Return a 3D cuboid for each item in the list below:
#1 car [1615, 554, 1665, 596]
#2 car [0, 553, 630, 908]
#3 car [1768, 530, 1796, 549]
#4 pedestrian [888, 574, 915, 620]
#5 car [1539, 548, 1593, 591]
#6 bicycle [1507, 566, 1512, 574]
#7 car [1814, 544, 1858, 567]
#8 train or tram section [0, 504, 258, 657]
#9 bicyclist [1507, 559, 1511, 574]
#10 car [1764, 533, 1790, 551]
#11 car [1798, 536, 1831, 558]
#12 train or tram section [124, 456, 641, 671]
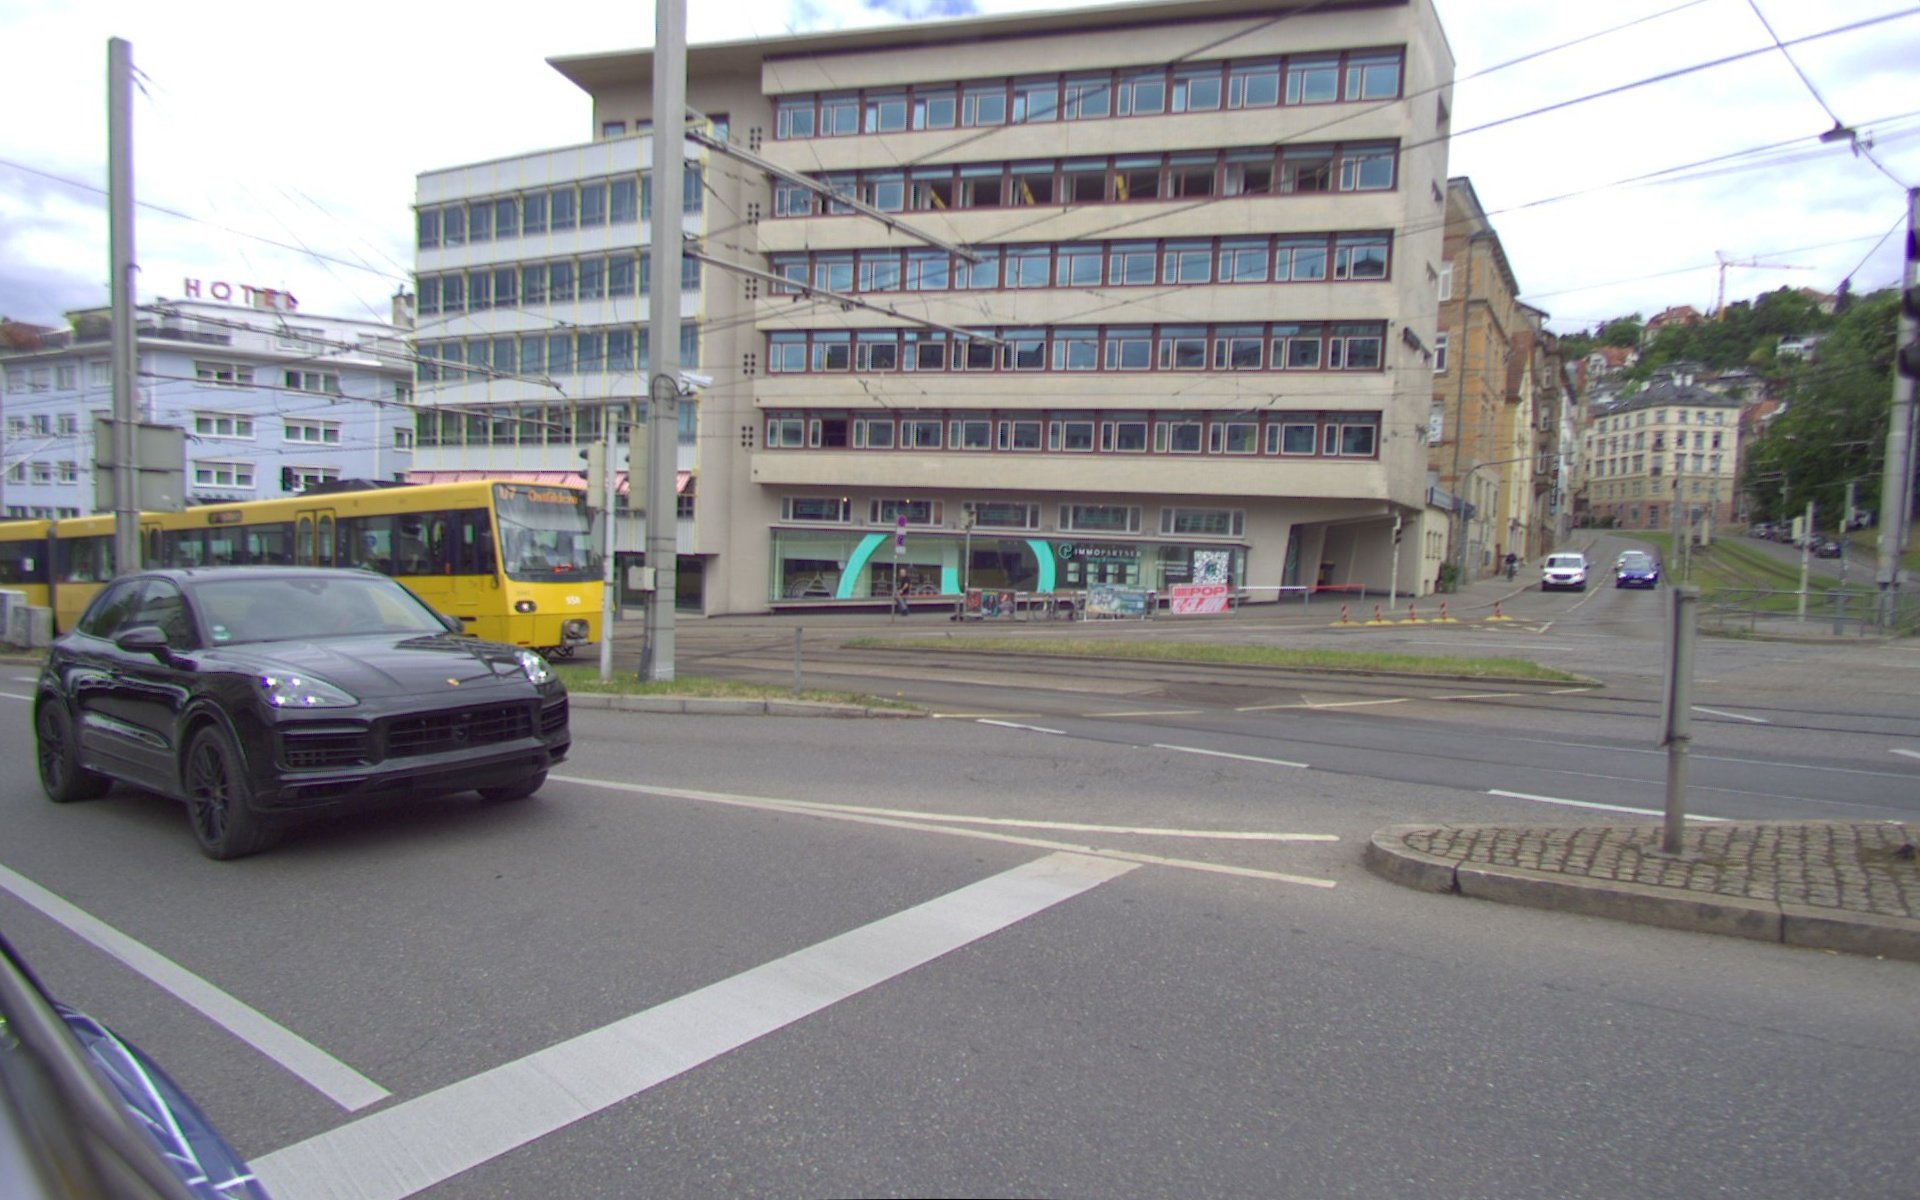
[{"bbox_3d":[35.056,-1.275,52.125,1.996,2.029,3.952,0,1,36],"label":"car"},{"bbox_3d":[-4.675,0.590,6.978,4.767,1.697,2.012,0,2,33],"label":"car"},{"bbox_3d":[86.760,-6.341,106.843,1.996,1.851,3.951,0,1,36],"label":"car"},{"bbox_3d":[-2.205,-0.128,38.130,0.778,1.721,0.756,-1,1,18],"label":"pedestrian"},{"bbox_3d":[30.164,-1.533,50.480,1.990,2.028,3.964,-1,2,27],"label":"car"},{"bbox_3d":[31.240,-1.715,57.568,0.193,0.461,0.528,-1,1,34],"label":"bicycle"},{"bbox_3d":[73.207,-3.701,84.677,2.424,1.851,3.951,0,1,36],"label":"car"},{"bbox_3d":[-25.776,-0.488,28.763,14.148,3.691,2.867,0,1,25],"label":"train or tram section"},{"bbox_3d":[31.247,-1.897,57.587,0.192,0.816,0.237,-1,1,34],"label":"bicyclist"},{"bbox_3d":[91.883,-6.465,113.865,1.996,1.851,3.951,0,1,36],"label":"car"},{"bbox_3d":[78.740,-4.825,93.276,1.996,1.851,3.951,0,1,36],"label":"car"},{"bbox_3d":[-13.241,-0.612,22.180,14.413,3.691,2.862,0,0,29],"label":"train or tram section"}]
